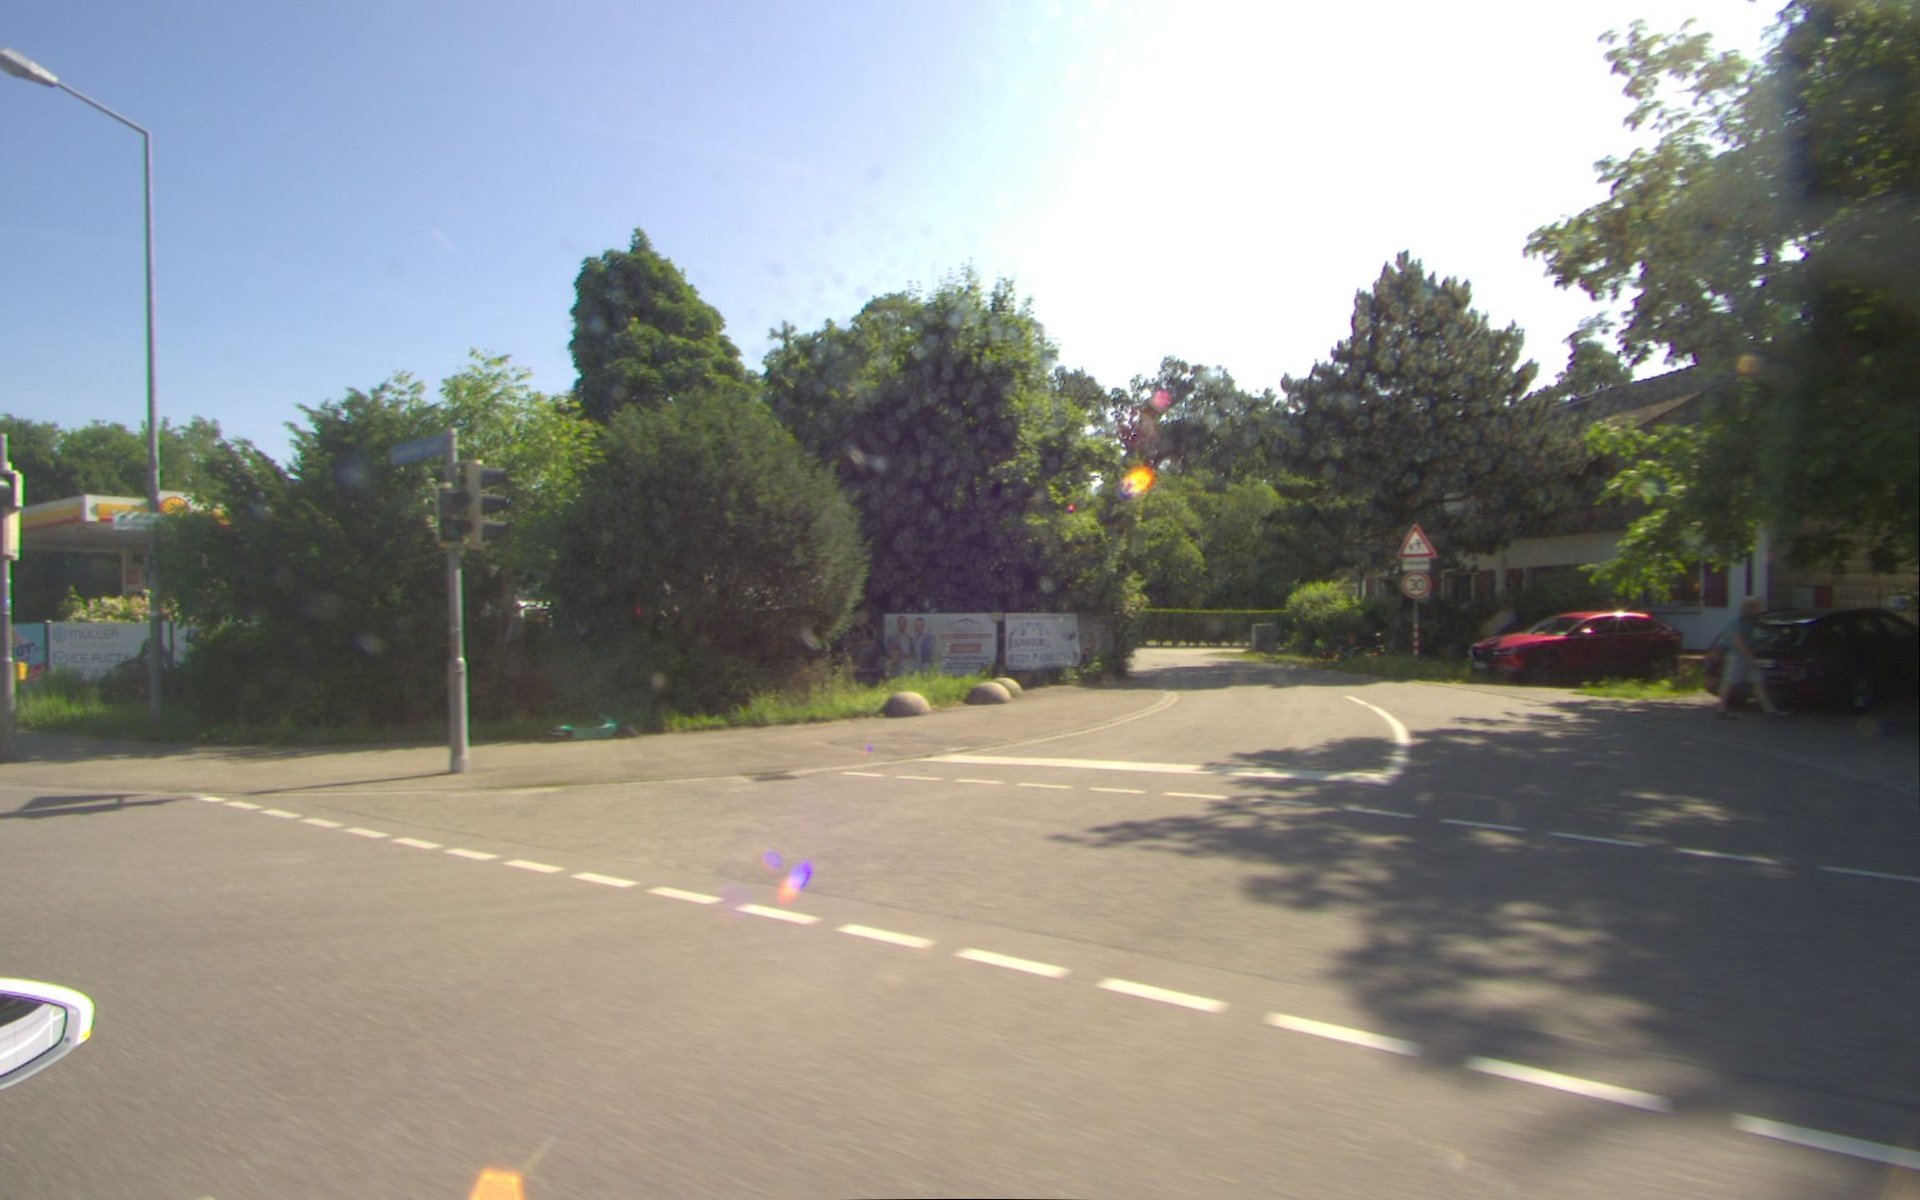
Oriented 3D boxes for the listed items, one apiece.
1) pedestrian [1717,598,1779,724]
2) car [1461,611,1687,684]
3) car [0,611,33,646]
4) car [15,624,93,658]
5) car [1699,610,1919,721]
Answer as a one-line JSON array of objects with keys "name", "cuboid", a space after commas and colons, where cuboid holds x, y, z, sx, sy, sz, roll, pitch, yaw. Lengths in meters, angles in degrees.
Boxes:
[{"name": "pedestrian", "cuboid": [10.533, 0.800, 13.397, 0.600, 1.651, 0.413, 0, 1, 30]}, {"name": "car", "cuboid": [13.213, 1.003, 21.697, 3.910, 1.483, 1.629, 0, 0, -1]}, {"name": "car", "cuboid": [-50.982, 1.536, 52.882, 3.942, 1.788, 1.991, -1, -2, 31]}, {"name": "car", "cuboid": [-39.010, 1.723, 43.094, 3.798, 1.378, 1.791, -1, 0, 37]}, {"name": "car", "cuboid": [13.176, 0.905, 15.146, 3.730, 1.483, 1.623, 0, 0, -24]}]
